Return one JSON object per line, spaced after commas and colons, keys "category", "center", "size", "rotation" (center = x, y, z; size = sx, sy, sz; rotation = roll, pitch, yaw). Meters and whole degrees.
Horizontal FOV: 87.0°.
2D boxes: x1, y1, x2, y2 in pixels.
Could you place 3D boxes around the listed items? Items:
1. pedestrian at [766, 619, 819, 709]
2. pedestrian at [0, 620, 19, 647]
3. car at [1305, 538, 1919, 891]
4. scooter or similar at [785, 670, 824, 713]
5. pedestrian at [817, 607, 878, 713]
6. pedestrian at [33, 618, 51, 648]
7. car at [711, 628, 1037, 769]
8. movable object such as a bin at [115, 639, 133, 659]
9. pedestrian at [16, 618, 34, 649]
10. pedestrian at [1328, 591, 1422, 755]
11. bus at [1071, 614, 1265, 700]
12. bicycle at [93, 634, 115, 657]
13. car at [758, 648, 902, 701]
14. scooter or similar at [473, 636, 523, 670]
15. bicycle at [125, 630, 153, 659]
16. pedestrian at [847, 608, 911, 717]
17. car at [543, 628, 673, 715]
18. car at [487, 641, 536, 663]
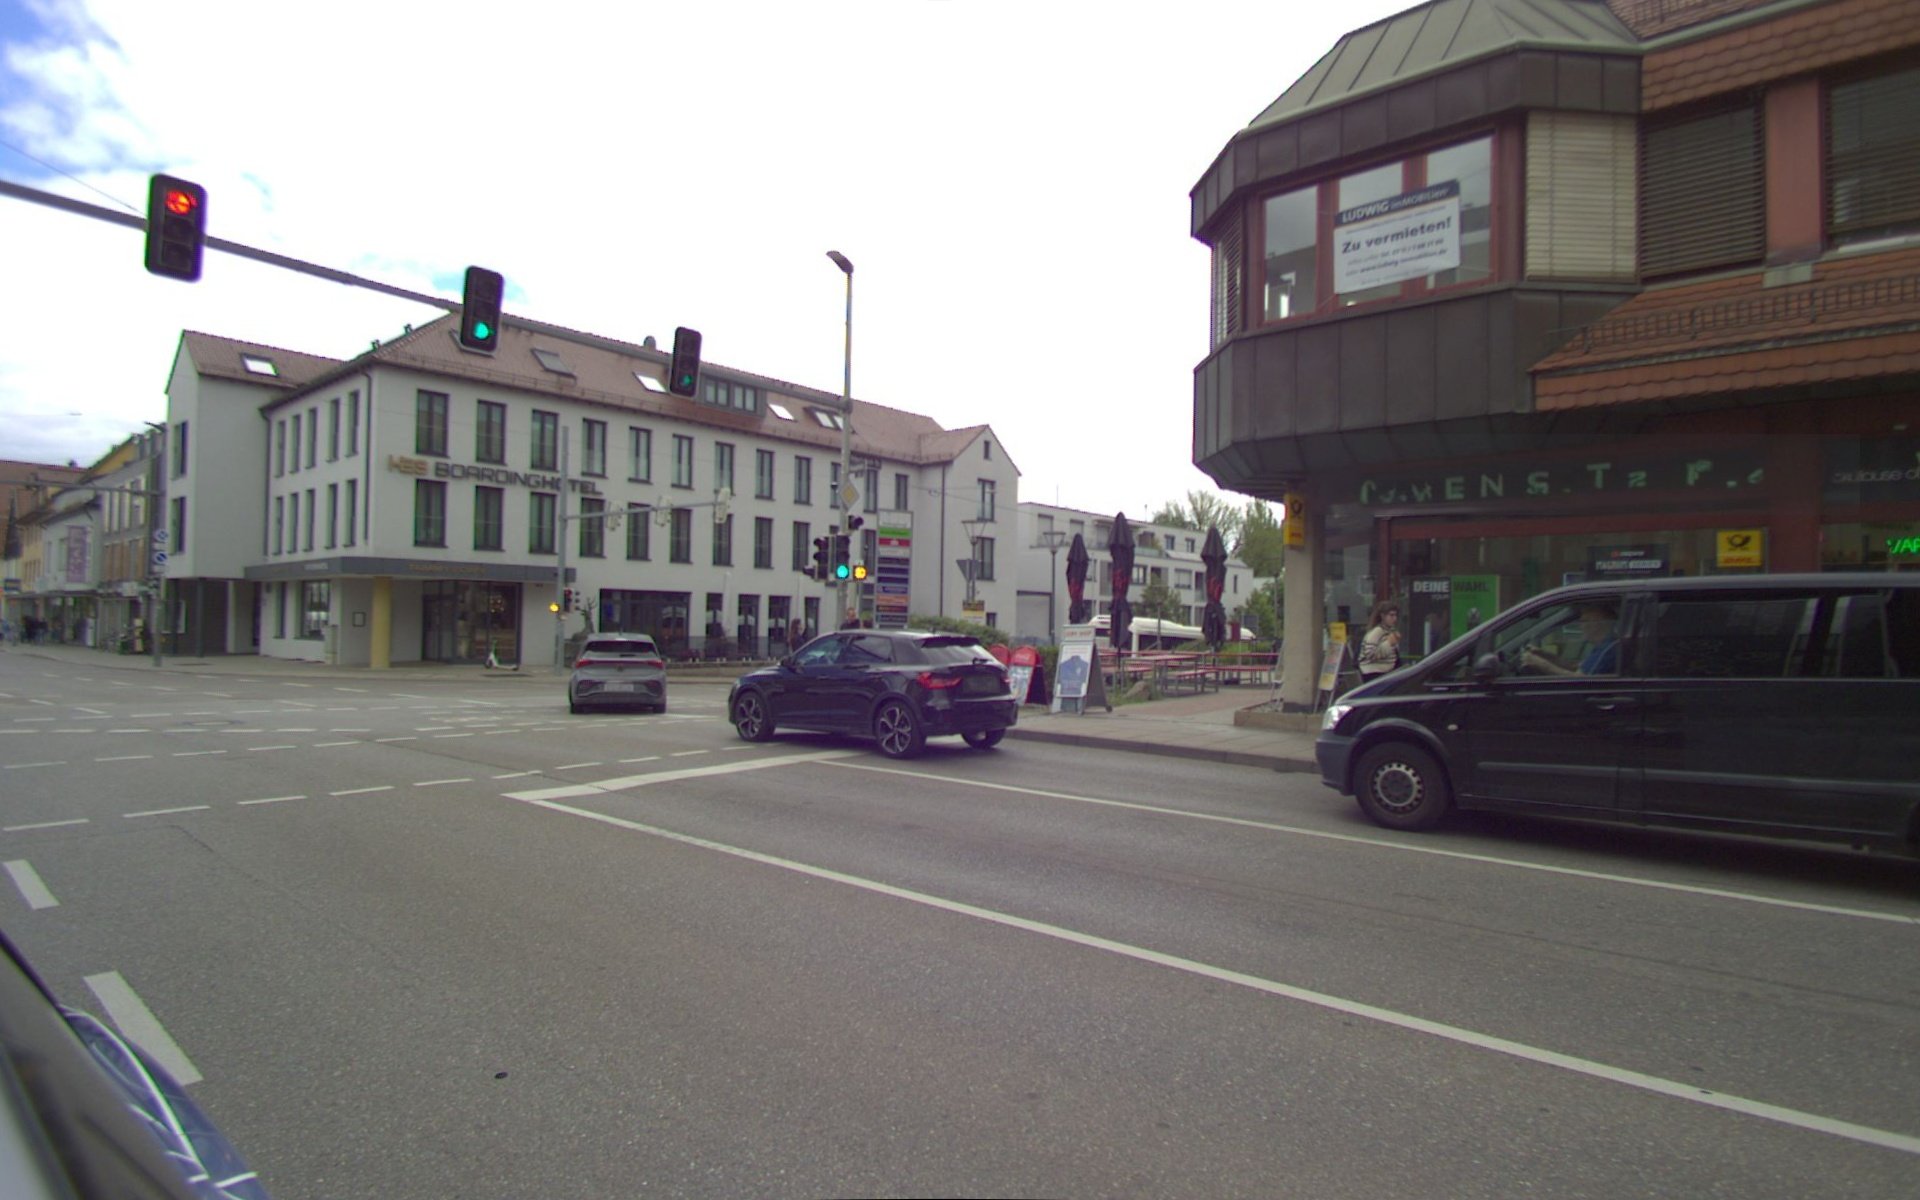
{"category": "pedestrian", "center": [-3.297, 1.243, 19.957], "size": [0.799, 1.727, 0.704], "rotation": [1, -3, -37]}
{"category": "pedestrian", "center": [-57.699, 2.027, 61.404], "size": [0.920, 1.595, 0.801], "rotation": [-1, -2, 42]}
{"category": "car", "center": [5.187, 0.677, 6.841], "size": [5.112, 1.924, 1.845], "rotation": [-1, -3, 42]}
{"category": "scooter or similar", "center": [-2.761, 1.615, 17.988], "size": [0.537, 0.732, 0.450], "rotation": [-1, -2, 34]}
{"category": "pedestrian", "center": [-1.989, 1.049, 17.982], "size": [0.744, 1.822, 0.803], "rotation": [-1, -2, 33]}
{"category": "pedestrian", "center": [-56.352, 2.037, 62.106], "size": [0.870, 1.795, 0.699], "rotation": [-1, -2, 43]}
{"category": "car", "center": [-1.158, 1.084, 12.518], "size": [3.996, 1.454, 1.685], "rotation": [-1, -2, 40]}
{"category": "movable object such as a bin", "center": [-38.592, 2.266, 46.732], "size": [0.506, 0.906, 0.545], "rotation": [-1, -2, 40]}
{"category": "pedestrian", "center": [-56.842, 2.022, 61.531], "size": [1.028, 1.853, 0.699], "rotation": [-1, -2, 43]}
{"category": "pedestrian", "center": [4.541, 0.775, 11.077], "size": [0.776, 1.706, 0.742], "rotation": [-1, -2, 37]}
{"category": "bus", "center": [9.641, 2.668, 45.100], "size": [2.995, 3.353, 12.139], "rotation": [-1, -5, 40]}
{"category": "bicycle", "center": [-41.738, 2.219, 49.346], "size": [1.902, 1.109, 0.565], "rotation": [-1, -2, 42]}
{"category": "car", "center": [-3.715, 2.185, 29.570], "size": [1.639, 1.429, 4.142], "rotation": [-3, -5, 40]}
{"category": "scooter or similar", "center": [-16.713, 1.915, 36.600], "size": [1.552, 1.167, 0.426], "rotation": [3, -2, 0]}
{"category": "bicycle", "center": [-36.577, 1.981, 45.086], "size": [2.118, 1.241, 0.576], "rotation": [-1, -2, 40]}
{"category": "pedestrian", "center": [-1.397, 1.049, 17.437], "size": [0.773, 1.822, 0.803], "rotation": [-1, -2, 33]}
{"category": "car", "center": [-7.176, 1.395, 20.346], "size": [1.734, 1.529, 4.400], "rotation": [2, -4, -28]}
{"category": "car", "center": [-25.055, 2.888, 56.482], "size": [1.378, 1.189, 3.354], "rotation": [3, -3, -44]}
